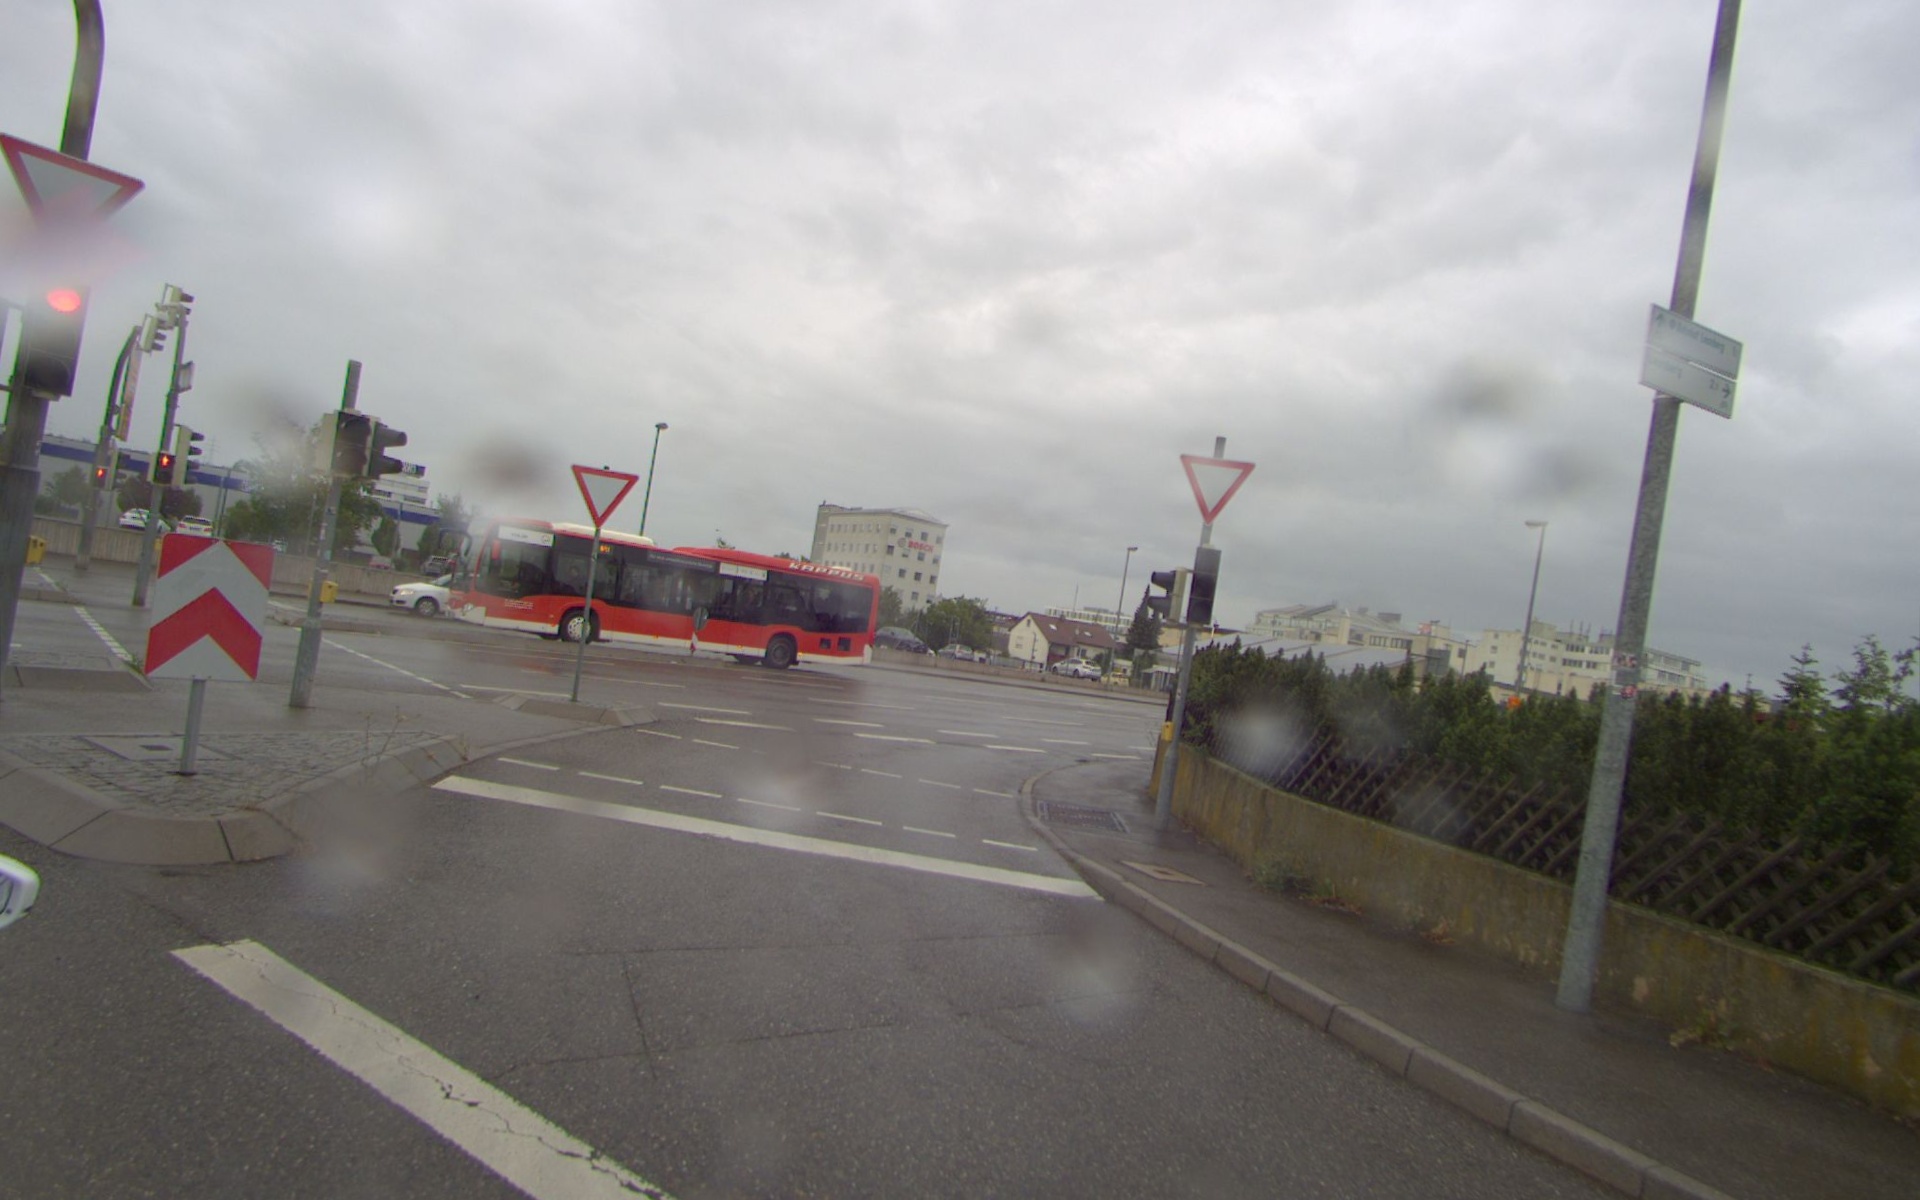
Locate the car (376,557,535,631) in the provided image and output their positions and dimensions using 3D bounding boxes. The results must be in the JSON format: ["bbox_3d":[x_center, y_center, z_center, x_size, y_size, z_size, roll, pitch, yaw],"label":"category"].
[{"bbox_3d":[-15.637,-0.173,31.259,3.971,1.614,1.937,10,-2,-38],"label":"car"}]

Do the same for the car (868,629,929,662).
[{"bbox_3d":[-3.903,2.828,63.108,1.983,1.495,3.964,10,-2,-34],"label":"car"}]

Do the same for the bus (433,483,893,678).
[{"bbox_3d":[-7.908,-0.257,28.972,12.241,3.357,3.041,12,-3,-40],"label":"bus"}]

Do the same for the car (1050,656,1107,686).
[{"bbox_3d":[8.351,5.016,71.128,1.979,1.494,3.972,9,-2,-28],"label":"car"}]

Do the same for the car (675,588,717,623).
[{"bbox_3d":[-15.798,0.315,60.183,1.750,1.734,3.630,9,-2,-22],"label":"car"}]

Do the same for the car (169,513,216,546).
[{"bbox_3d":[-45.332,-4.171,59.442,1.986,1.495,3.958,10,-2,-38],"label":"car"}]

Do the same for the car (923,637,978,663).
[{"bbox_3d":[-0.763,4.106,83.358,3.951,1.494,1.989,10,-2,-24],"label":"car"}]

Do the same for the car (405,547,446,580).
[{"bbox_3d":[-32.955,-2.234,62.079,1.700,1.734,3.629,9,-2,-23],"label":"car"}]

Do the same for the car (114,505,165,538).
[{"bbox_3d":[-47.061,-4.500,57.784,1.985,1.495,3.959,10,-2,-37],"label":"car"}]

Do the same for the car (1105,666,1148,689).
[{"bbox_3d":[16.738,7.787,101.117,3.760,1.771,1.887,9,-2,-28],"label":"car"}]

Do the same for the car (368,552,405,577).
[{"bbox_3d":[-42.240,-2.596,74.146,1.750,1.495,3.630,9,-2,-22],"label":"car"}]

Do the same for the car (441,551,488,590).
[{"bbox_3d":[-26.417,-1.560,53.768,1.749,1.734,3.631,9,-2,-21],"label":"car"}]
